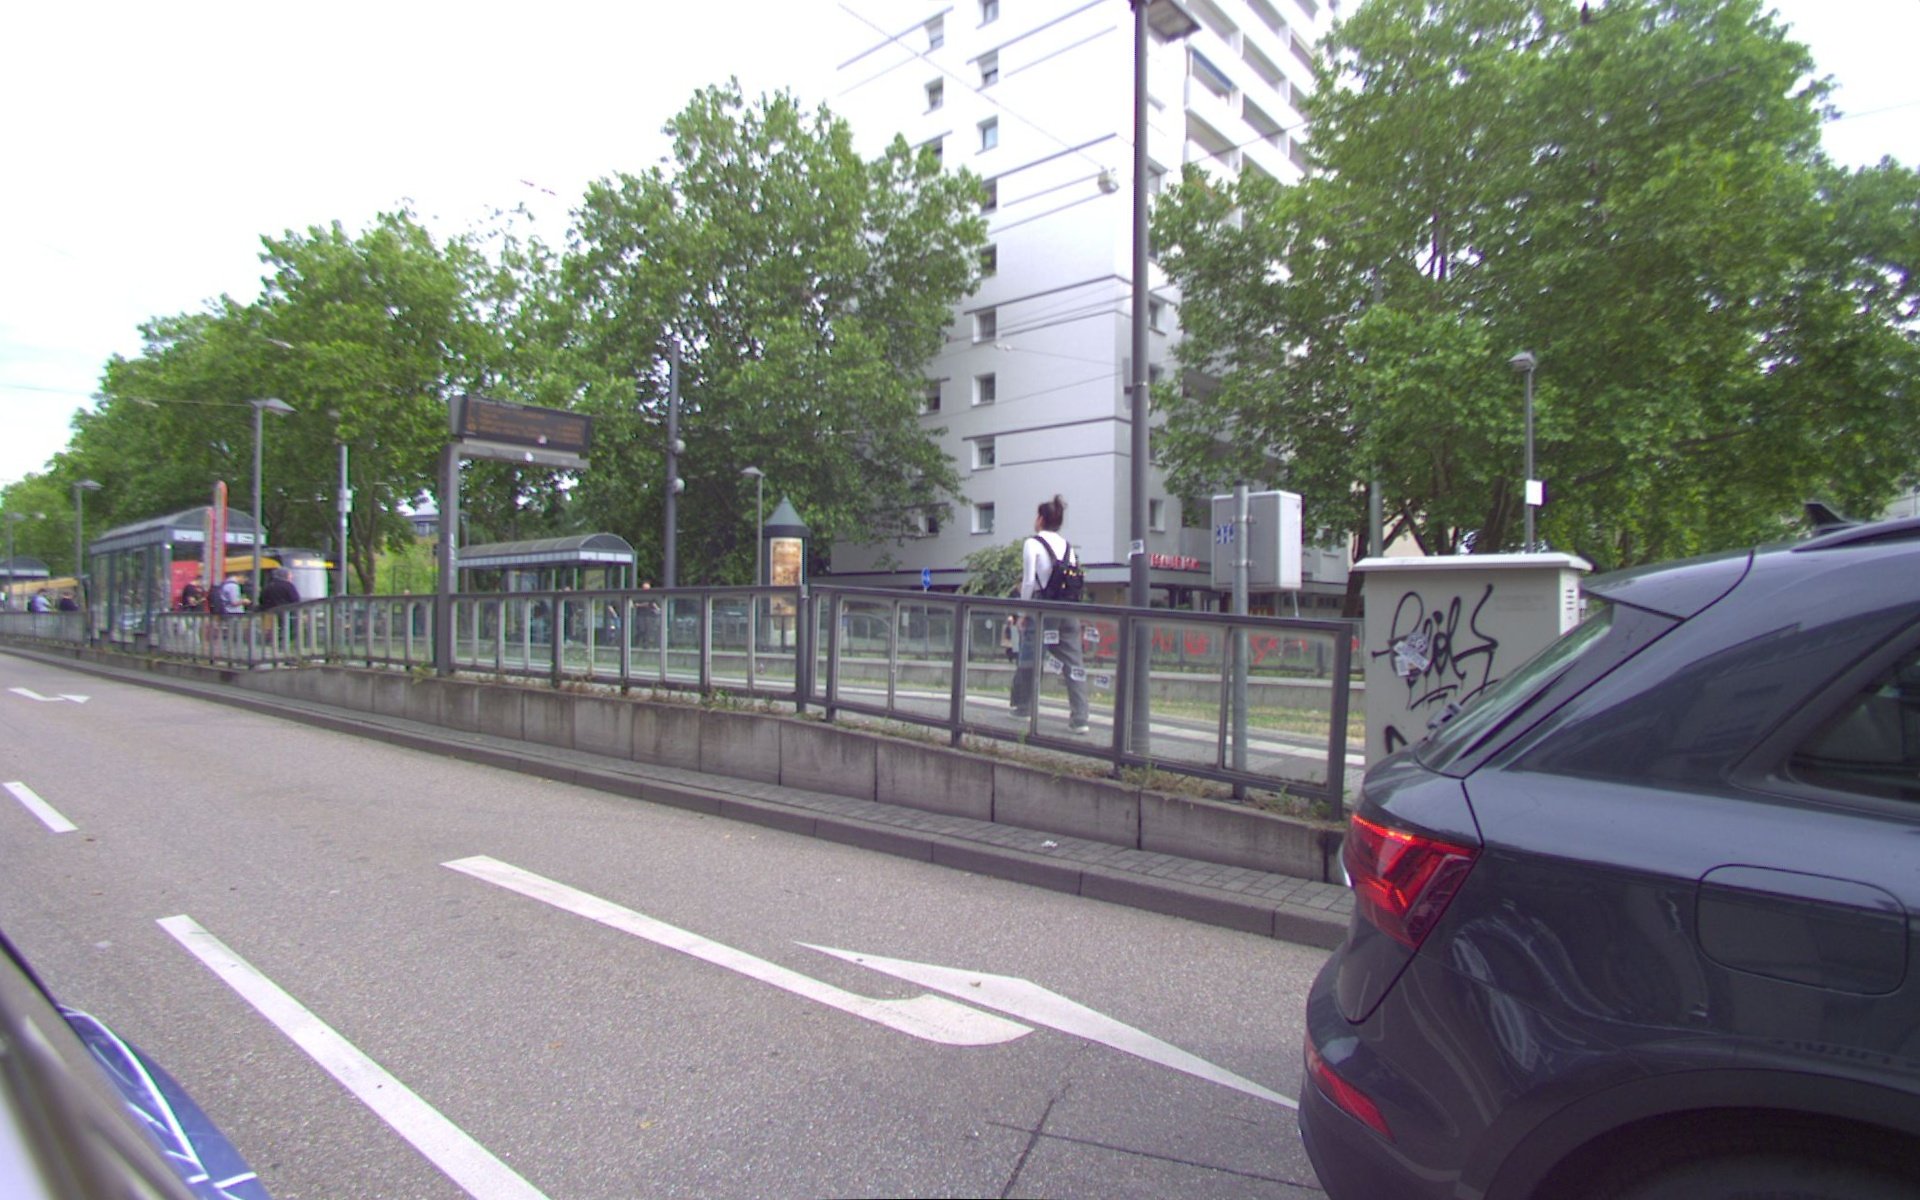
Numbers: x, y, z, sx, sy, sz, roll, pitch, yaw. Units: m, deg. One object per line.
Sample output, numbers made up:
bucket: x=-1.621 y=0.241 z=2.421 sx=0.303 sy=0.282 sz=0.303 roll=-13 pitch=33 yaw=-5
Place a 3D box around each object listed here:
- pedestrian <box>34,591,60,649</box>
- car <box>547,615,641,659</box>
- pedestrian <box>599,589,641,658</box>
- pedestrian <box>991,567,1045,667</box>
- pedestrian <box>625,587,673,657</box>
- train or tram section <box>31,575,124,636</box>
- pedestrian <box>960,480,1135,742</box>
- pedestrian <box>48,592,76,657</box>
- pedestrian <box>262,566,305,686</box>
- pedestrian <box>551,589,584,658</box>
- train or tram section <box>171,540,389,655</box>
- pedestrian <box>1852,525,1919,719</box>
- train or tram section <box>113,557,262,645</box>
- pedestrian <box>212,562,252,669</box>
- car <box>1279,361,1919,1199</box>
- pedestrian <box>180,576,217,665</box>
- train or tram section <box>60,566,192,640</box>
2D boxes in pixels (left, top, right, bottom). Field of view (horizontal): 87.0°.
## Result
pedestrian: x=-29.032 y=0.622 z=32.189 sx=0.523 sy=1.818 sz=0.607 roll=-1 pitch=0 yaw=-35
car: x=-12.385 y=1.220 z=34.183 sx=3.216 sy=1.439 sz=1.562 roll=-1 pitch=-1 yaw=38
pedestrian: x=-9.313 y=0.626 z=27.721 sx=0.666 sy=1.848 sz=0.871 roll=-1 pitch=0 yaw=41
pedestrian: x=1.056 y=0.303 z=18.362 sx=0.666 sy=1.763 sz=0.728 roll=-1 pitch=0 yaw=41
pedestrian: x=-8.025 y=0.559 z=26.109 sx=0.850 sy=1.769 sz=0.871 roll=-1 pitch=0 yaw=41
train or tram section: x=-59.555 y=0.379 z=68.193 sx=11.039 sy=3.781 sz=3.295 roll=-1 pitch=0 yaw=41
pedestrian: x=0.608 y=0.072 z=7.119 sx=0.979 sy=1.683 sz=0.711 roll=-1 pitch=0 yaw=44
pedestrian: x=-25.562 y=0.692 z=28.827 sx=0.523 sy=1.818 sz=0.607 roll=-1 pitch=0 yaw=-35
pedestrian: x=-10.523 y=0.388 z=15.746 sx=0.513 sy=1.818 sz=0.606 roll=-1 pitch=0 yaw=-37
pedestrian: x=-11.282 y=0.655 z=29.086 sx=0.553 sy=1.945 sz=0.690 roll=-1 pitch=0 yaw=41
train or tram section: x=-26.981 y=-0.039 z=39.566 sx=15.196 sy=3.781 sz=3.295 roll=-1 pitch=0 yaw=41
pedestrian: x=9.818 y=0.220 z=10.613 sx=0.666 sy=1.965 sz=0.728 roll=-1 pitch=0 yaw=41
train or tram section: x=-37.411 y=0.095 z=48.735 sx=12.543 sy=3.781 sz=3.295 roll=-1 pitch=0 yaw=41
pedestrian: x=-12.745 y=0.266 z=17.721 sx=0.605 sy=1.818 sz=0.469 roll=-1 pitch=0 yaw=45
car: x=2.695 y=0.521 z=0.976 sx=4.225 sy=1.649 sz=1.715 roll=-1 pitch=0 yaw=41
pedestrian: x=-15.919 y=0.418 z=21.166 sx=0.467 sy=1.818 sz=0.607 roll=-1 pitch=0 yaw=-24
train or tram section: x=-48.221 y=0.233 z=58.215 sx=16.241 sy=3.781 sz=3.295 roll=-1 pitch=0 yaw=41
